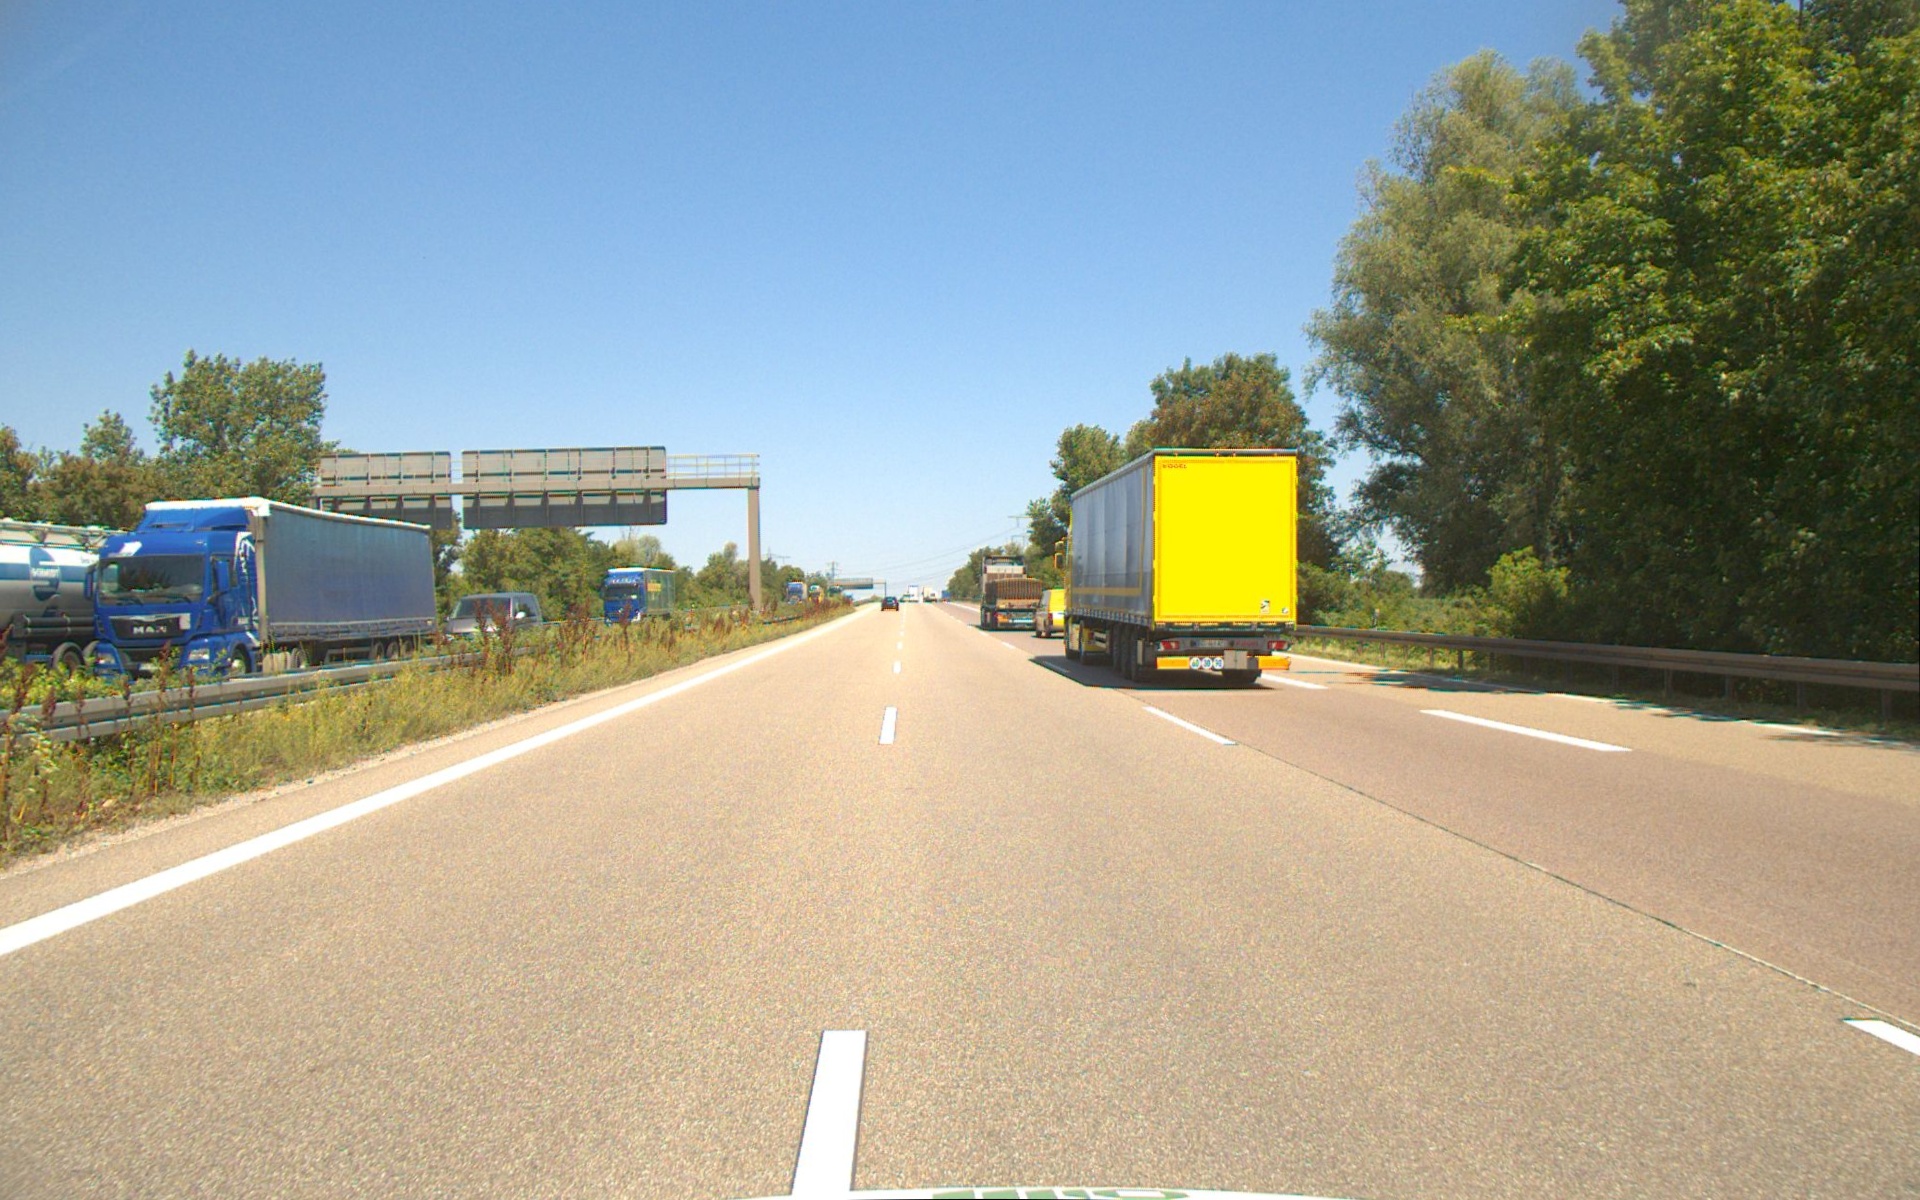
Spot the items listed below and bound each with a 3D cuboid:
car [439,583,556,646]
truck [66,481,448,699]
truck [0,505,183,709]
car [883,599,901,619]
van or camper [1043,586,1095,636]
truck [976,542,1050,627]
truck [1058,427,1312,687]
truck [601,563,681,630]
[{"bbox_3d":[-12.833,0.382,46.185,1.953,1.617,4.816,-2,0,-1],"label":"car"},{"bbox_3d":[-16.853,-0.198,42.013,2.896,4.319,17.173,-2,0,-2],"label":"truck"},{"bbox_3d":[-20.737,0.181,33.648,2.896,4.088,15.813,-2,0,-2],"label":"truck"},{"bbox_3d":[-6.882,0.938,166.962,1.755,2.049,3.886,0,-1,-2],"label":"car"},{"bbox_3d":[4.413,0.428,67.637,1.952,1.942,4.972,0,0,2],"label":"van or camper"},{"bbox_3d":[2.589,-0.656,86.365,2.909,4.026,16.607,0,0,-1],"label":"truck"},{"bbox_3d":[4.299,-0.671,36.320,2.787,4.332,16.785,-1,0,-1],"label":"truck"},{"bbox_3d":[-23.066,-0.255,120.721,2.896,4.418,18.233,-2,0,-2],"label":"truck"}]
